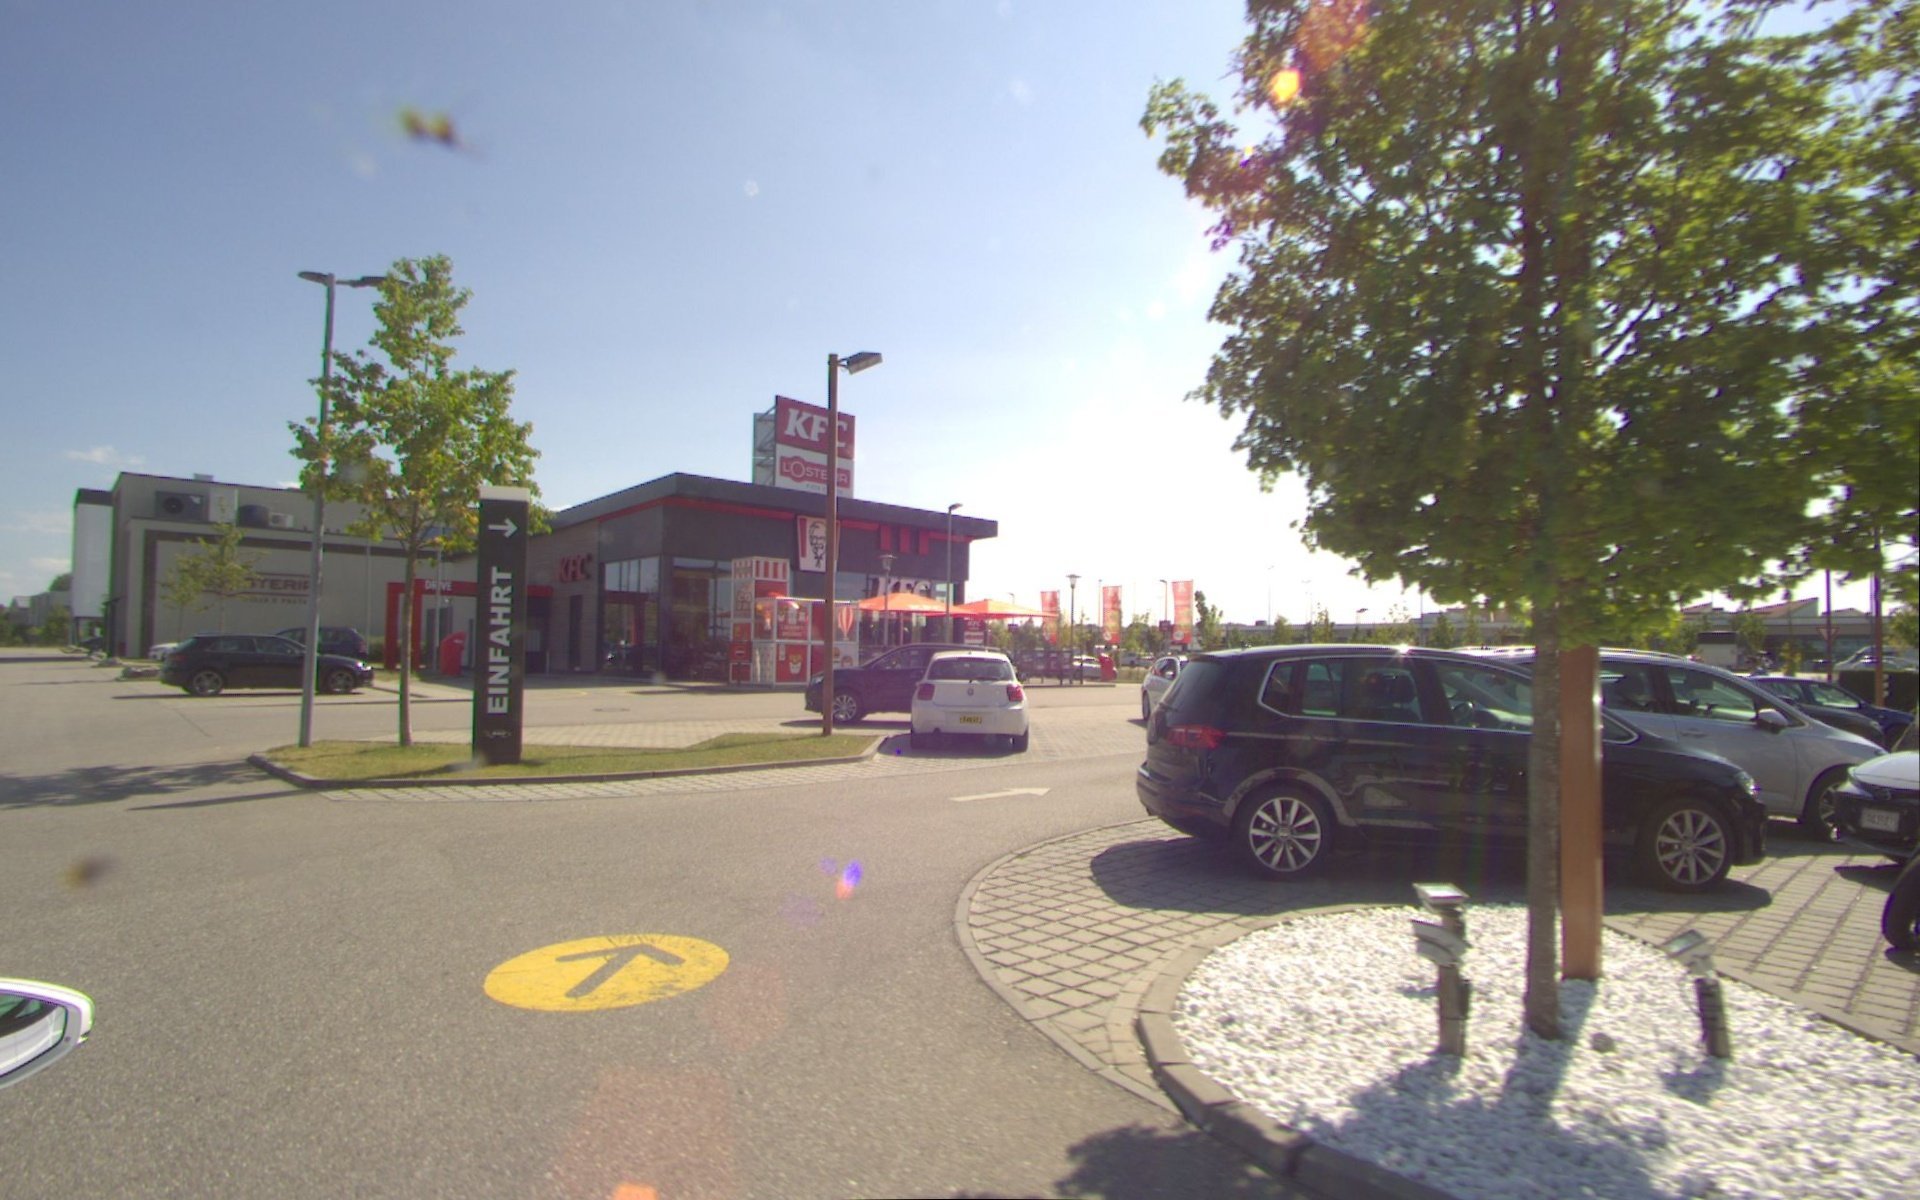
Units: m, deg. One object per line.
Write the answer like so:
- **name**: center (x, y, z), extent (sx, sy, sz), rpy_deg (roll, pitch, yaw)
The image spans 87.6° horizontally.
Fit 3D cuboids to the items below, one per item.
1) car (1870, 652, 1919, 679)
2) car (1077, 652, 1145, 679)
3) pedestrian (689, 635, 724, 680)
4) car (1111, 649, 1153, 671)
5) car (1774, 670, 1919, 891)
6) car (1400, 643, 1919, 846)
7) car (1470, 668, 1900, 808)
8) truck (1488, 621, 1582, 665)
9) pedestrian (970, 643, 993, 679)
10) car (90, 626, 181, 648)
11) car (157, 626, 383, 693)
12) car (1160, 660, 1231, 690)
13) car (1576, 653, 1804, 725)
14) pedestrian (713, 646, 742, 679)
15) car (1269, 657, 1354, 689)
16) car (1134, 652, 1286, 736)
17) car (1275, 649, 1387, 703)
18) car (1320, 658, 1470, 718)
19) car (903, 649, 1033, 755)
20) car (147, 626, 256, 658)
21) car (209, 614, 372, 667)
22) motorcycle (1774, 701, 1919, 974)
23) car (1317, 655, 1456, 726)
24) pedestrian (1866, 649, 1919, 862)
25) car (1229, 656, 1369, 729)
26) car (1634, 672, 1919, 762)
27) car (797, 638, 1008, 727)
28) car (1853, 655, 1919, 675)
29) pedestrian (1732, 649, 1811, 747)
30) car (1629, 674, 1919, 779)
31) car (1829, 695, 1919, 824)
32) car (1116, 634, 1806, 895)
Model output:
- **car**: center (64.619, 4.474, 68.123), extent (3.957, 1.749, 1.879), rpy_deg (-1, -3, 43)
- **car**: center (8.656, 3.779, 57.335), extent (3.710, 1.472, 1.676), rpy_deg (3, -3, -36)
- **pedestrian**: center (-8.250, 1.860, 32.543), extent (0.764, 1.453, 0.793), rpy_deg (0, -2, 44)
- **car**: center (17.247, 5.988, 100.489), extent (1.966, 2.039, 5.012), rpy_deg (2, -2, -19)
- **car**: center (8.788, 1.356, 6.995), extent (4.572, 1.465, 1.837), rpy_deg (3, -3, 4)
- **car**: center (6.678, 1.325, 9.762), extent (3.988, 1.660, 1.749), rpy_deg (2, -2, 2)
- **car**: center (8.811, 1.644, 12.439), extent (4.002, 1.425, 1.795), rpy_deg (2, -2, 2)
- **truck**: center (47.248, 3.536, 82.552), extent (2.377, 3.394, 7.564), rpy_deg (1, -2, -10)
- **pedestrian**: center (0.785, 2.212, 36.320), extent (0.585, 1.285, 0.685), rpy_deg (1, -2, 21)
- **car**: center (-48.767, 2.201, 59.265), extent (1.980, 1.171, 3.964), rpy_deg (-1, -3, 45)
- **car**: center (-16.349, 1.415, 23.863), extent (4.176, 1.459, 1.681), rpy_deg (4, -4, -44)
- **car**: center (12.461, 3.957, 52.893), extent (3.710, 1.472, 1.676), rpy_deg (3, -3, -36)
- **car**: center (16.379, 1.971, 22.624), extent (3.827, 1.444, 1.708), rpy_deg (2, -2, 4)
- **pedestrian**: center (-7.713, 2.070, 33.233), extent (0.622, 1.085, 0.711), rpy_deg (0, -2, 44)
- **car**: center (16.749, 3.486, 47.671), extent (4.108, 1.415, 1.874), rpy_deg (4, -3, -38)
- **car**: center (5.019, 1.862, 20.766), extent (1.877, 1.490, 4.475), rpy_deg (1, -3, -2)
- **car**: center (13.348, 2.694, 35.909), extent (4.325, 1.771, 2.053), rpy_deg (4, -3, -43)
- **car**: center (12.288, 2.454, 28.622), extent (1.746, 1.530, 4.351), rpy_deg (2, -3, -11)
- **car**: center (0.203, 1.544, 16.249), extent (1.808, 1.443, 4.189), rpy_deg (1, -3, 3)
- **car**: center (-36.479, 2.035, 48.215), extent (1.633, 1.438, 3.967), rpy_deg (-1, -3, 43)
- **car**: center (-22.809, 1.419, 34.245), extent (1.623, 1.706, 4.351), rpy_deg (-1, -3, 41)
- **motorcycle**: center (5.530, 1.200, 5.162), extent (2.100, 1.246, 0.821), rpy_deg (3, -3, -5)
- **car**: center (10.212, 2.120, 24.311), extent (1.785, 1.507, 4.003), rpy_deg (1, -3, 2)
- **pedestrian**: center (8.167, 1.288, 8.428), extent (0.552, 1.734, 0.611), rpy_deg (1, -2, 10)
- **car**: center (7.508, 2.008, 22.584), extent (1.785, 1.420, 4.003), rpy_deg (1, -3, 0)
- **car**: center (16.024, 2.242, 19.571), extent (4.331, 1.530, 1.985), rpy_deg (1, -2, 3)
- **car**: center (-1.072, 1.622, 20.058), extent (4.007, 1.596, 1.758), rpy_deg (1, -2, 3)
- **car**: center (68.392, 4.796, 73.665), extent (1.650, 1.359, 3.871), rpy_deg (4, -4, -43)
- **pedestrian**: center (16.667, 1.984, 20.577), extent (0.890, 1.940, 1.023), rpy_deg (3, -2, -31)
- **car**: center (14.218, 2.108, 17.020), extent (4.331, 1.530, 1.985), rpy_deg (1, -2, 3)
- **car**: center (13.436, 1.987, 12.214), extent (3.996, 1.467, 1.830), rpy_deg (1, -2, 4)
- **car**: center (3.367, 1.099, 7.366), extent (4.109, 1.556, 1.897), rpy_deg (1, -2, 0)
